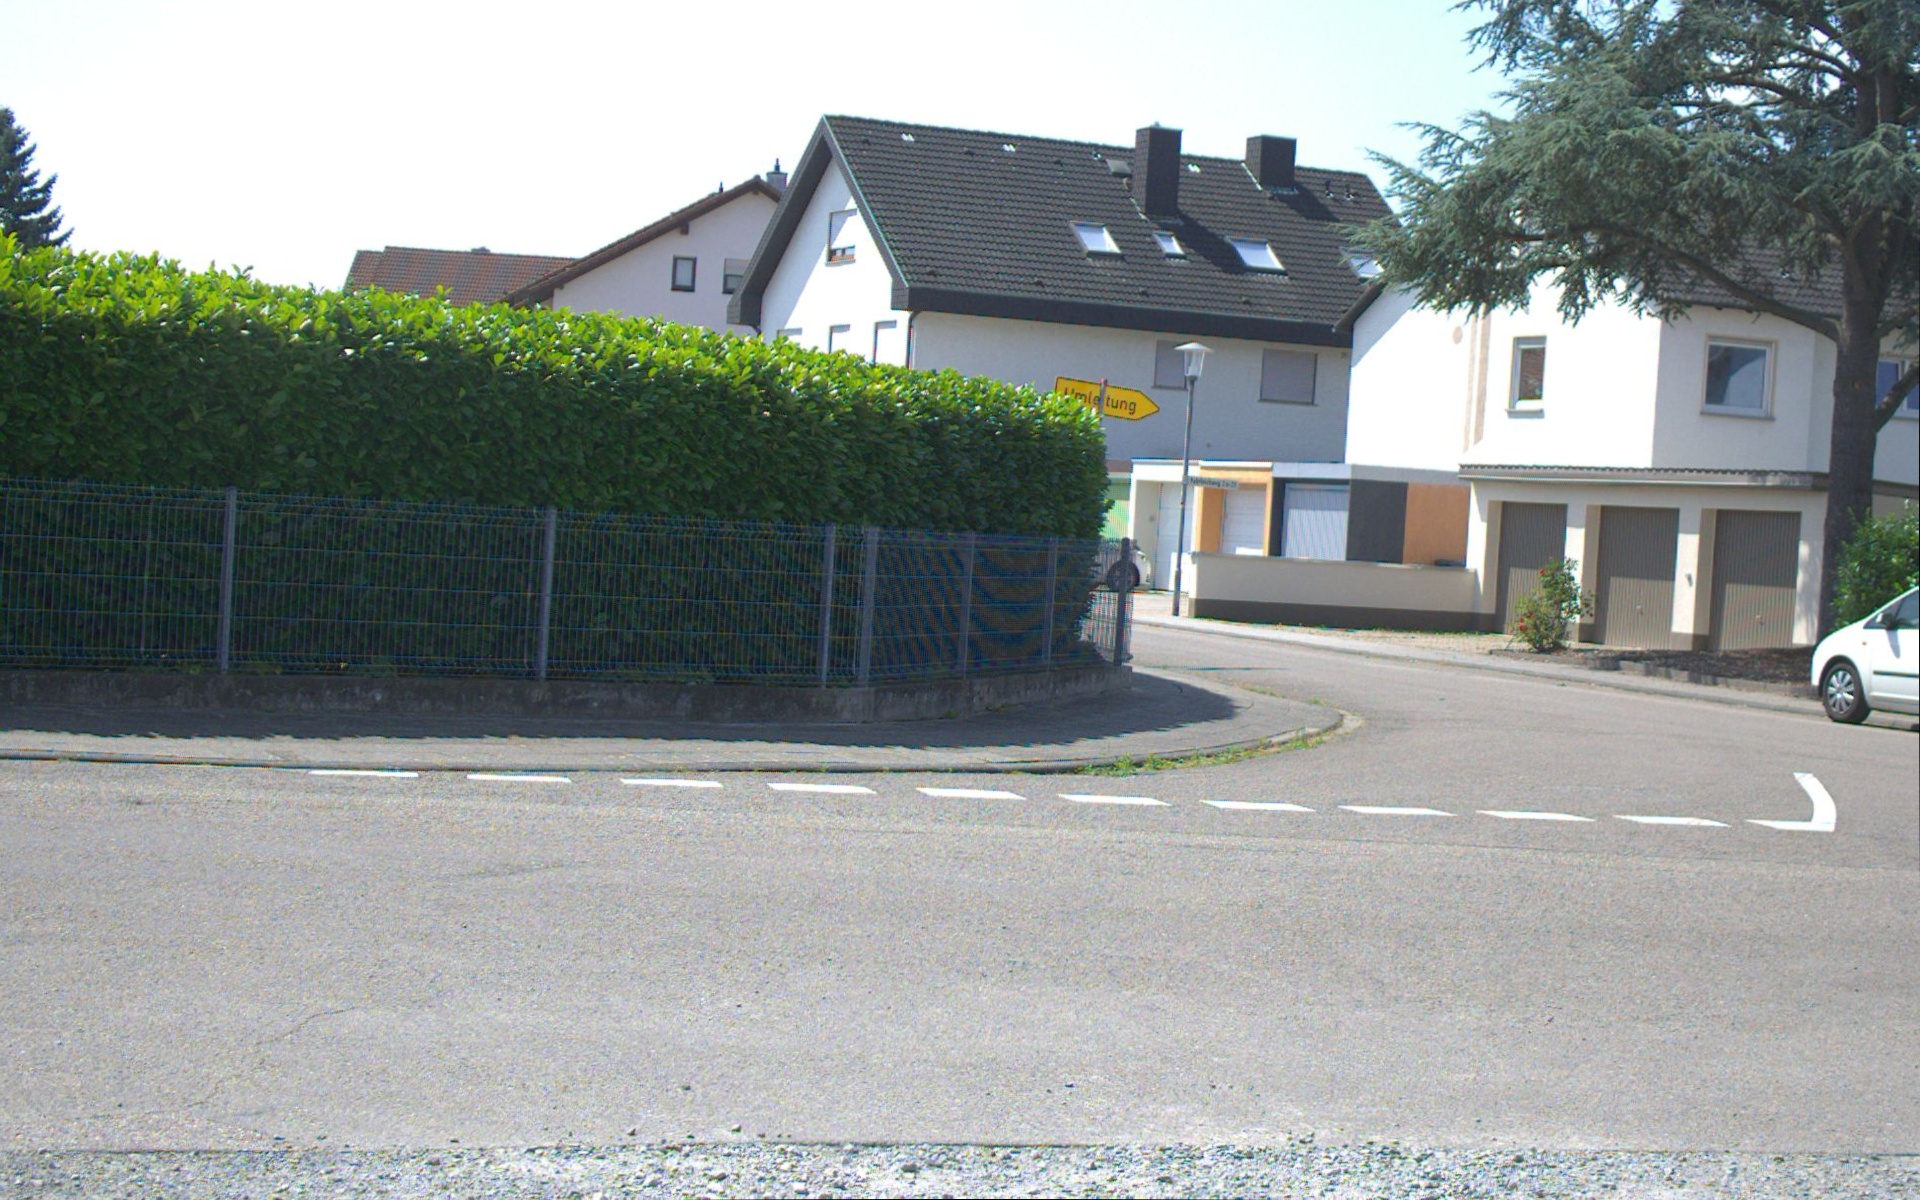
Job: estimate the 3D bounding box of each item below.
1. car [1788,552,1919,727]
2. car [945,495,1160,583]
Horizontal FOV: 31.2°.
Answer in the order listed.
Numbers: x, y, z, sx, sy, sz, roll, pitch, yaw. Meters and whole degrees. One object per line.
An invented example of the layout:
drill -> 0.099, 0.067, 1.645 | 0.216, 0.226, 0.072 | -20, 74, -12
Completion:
car -> 9.935, 0.465, 32.599 | 1.797, 1.557, 4.145 | 3, 2, -24
car -> 1.757, -1.158, 65.405 | 3.598, 1.403, 1.785 | 3, 2, -22
